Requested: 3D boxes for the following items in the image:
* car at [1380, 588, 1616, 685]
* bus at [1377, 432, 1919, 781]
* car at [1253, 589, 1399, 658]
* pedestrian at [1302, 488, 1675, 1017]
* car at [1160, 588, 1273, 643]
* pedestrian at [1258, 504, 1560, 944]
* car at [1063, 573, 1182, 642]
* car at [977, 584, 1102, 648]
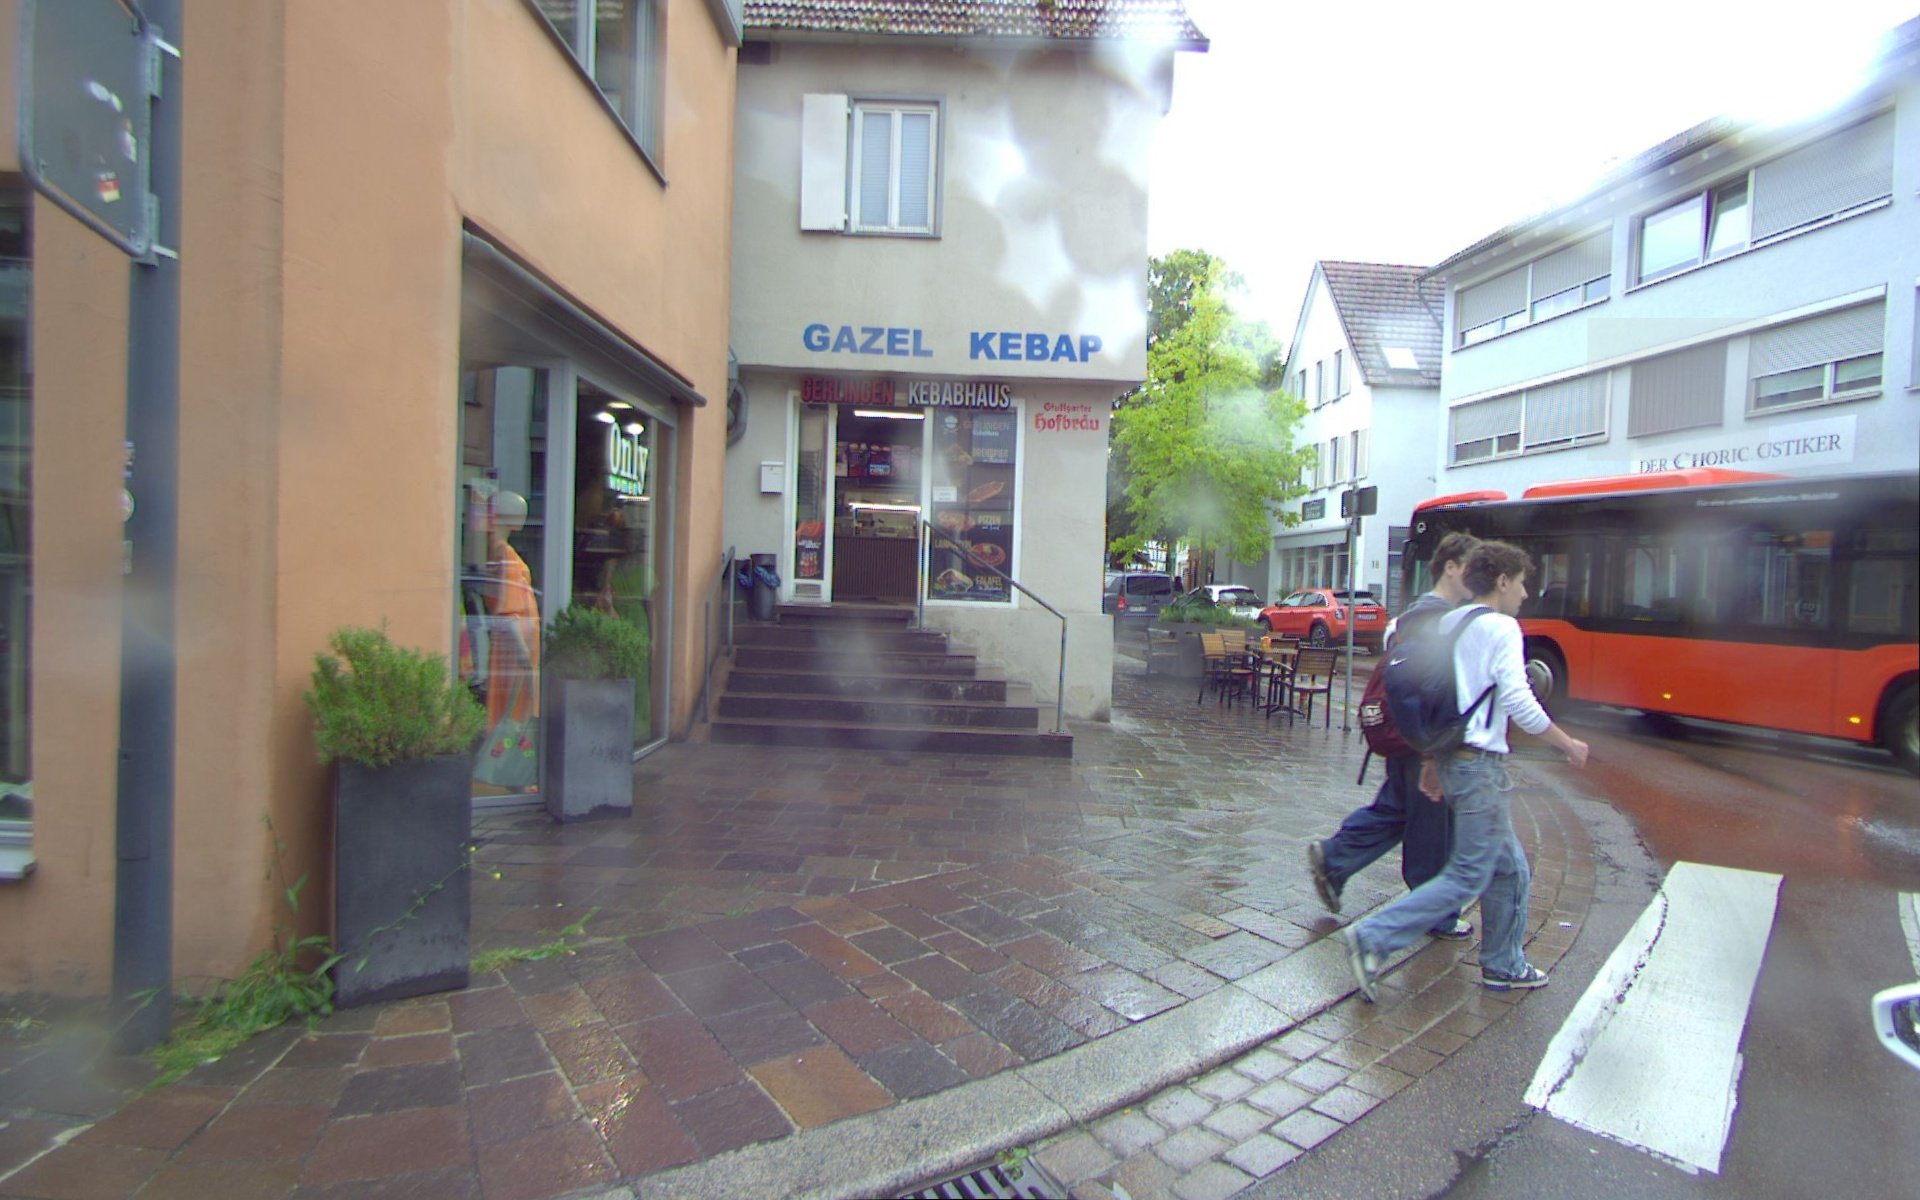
[{"bbox_3d":[10.402,0.635,19.820,1.665,1.634,4.213,1,1,-15],"label":"car"},{"bbox_3d":[9.433,0.061,11.086,2.777,3.130,10.567,2,1,-17],"label":"bus"},{"bbox_3d":[9.035,0.533,25.120,1.653,1.549,3.789,1,1,-12],"label":"car"},{"bbox_3d":[1.988,0.535,3.913,1.040,1.831,0.666,2,0,5],"label":"pedestrian"},{"bbox_3d":[7.774,0.426,30.802,1.769,1.515,3.851,2,0,-13],"label":"car"},{"bbox_3d":[2.009,0.521,4.628,1.037,1.824,0.695,2,0,5],"label":"pedestrian"},{"bbox_3d":[4.670,0.156,29.666,1.918,1.805,4.716,1,2,-11],"label":"car"},{"bbox_3d":[2.055,0.381,27.060,1.702,1.433,3.959,4,1,-22],"label":"car"}]
